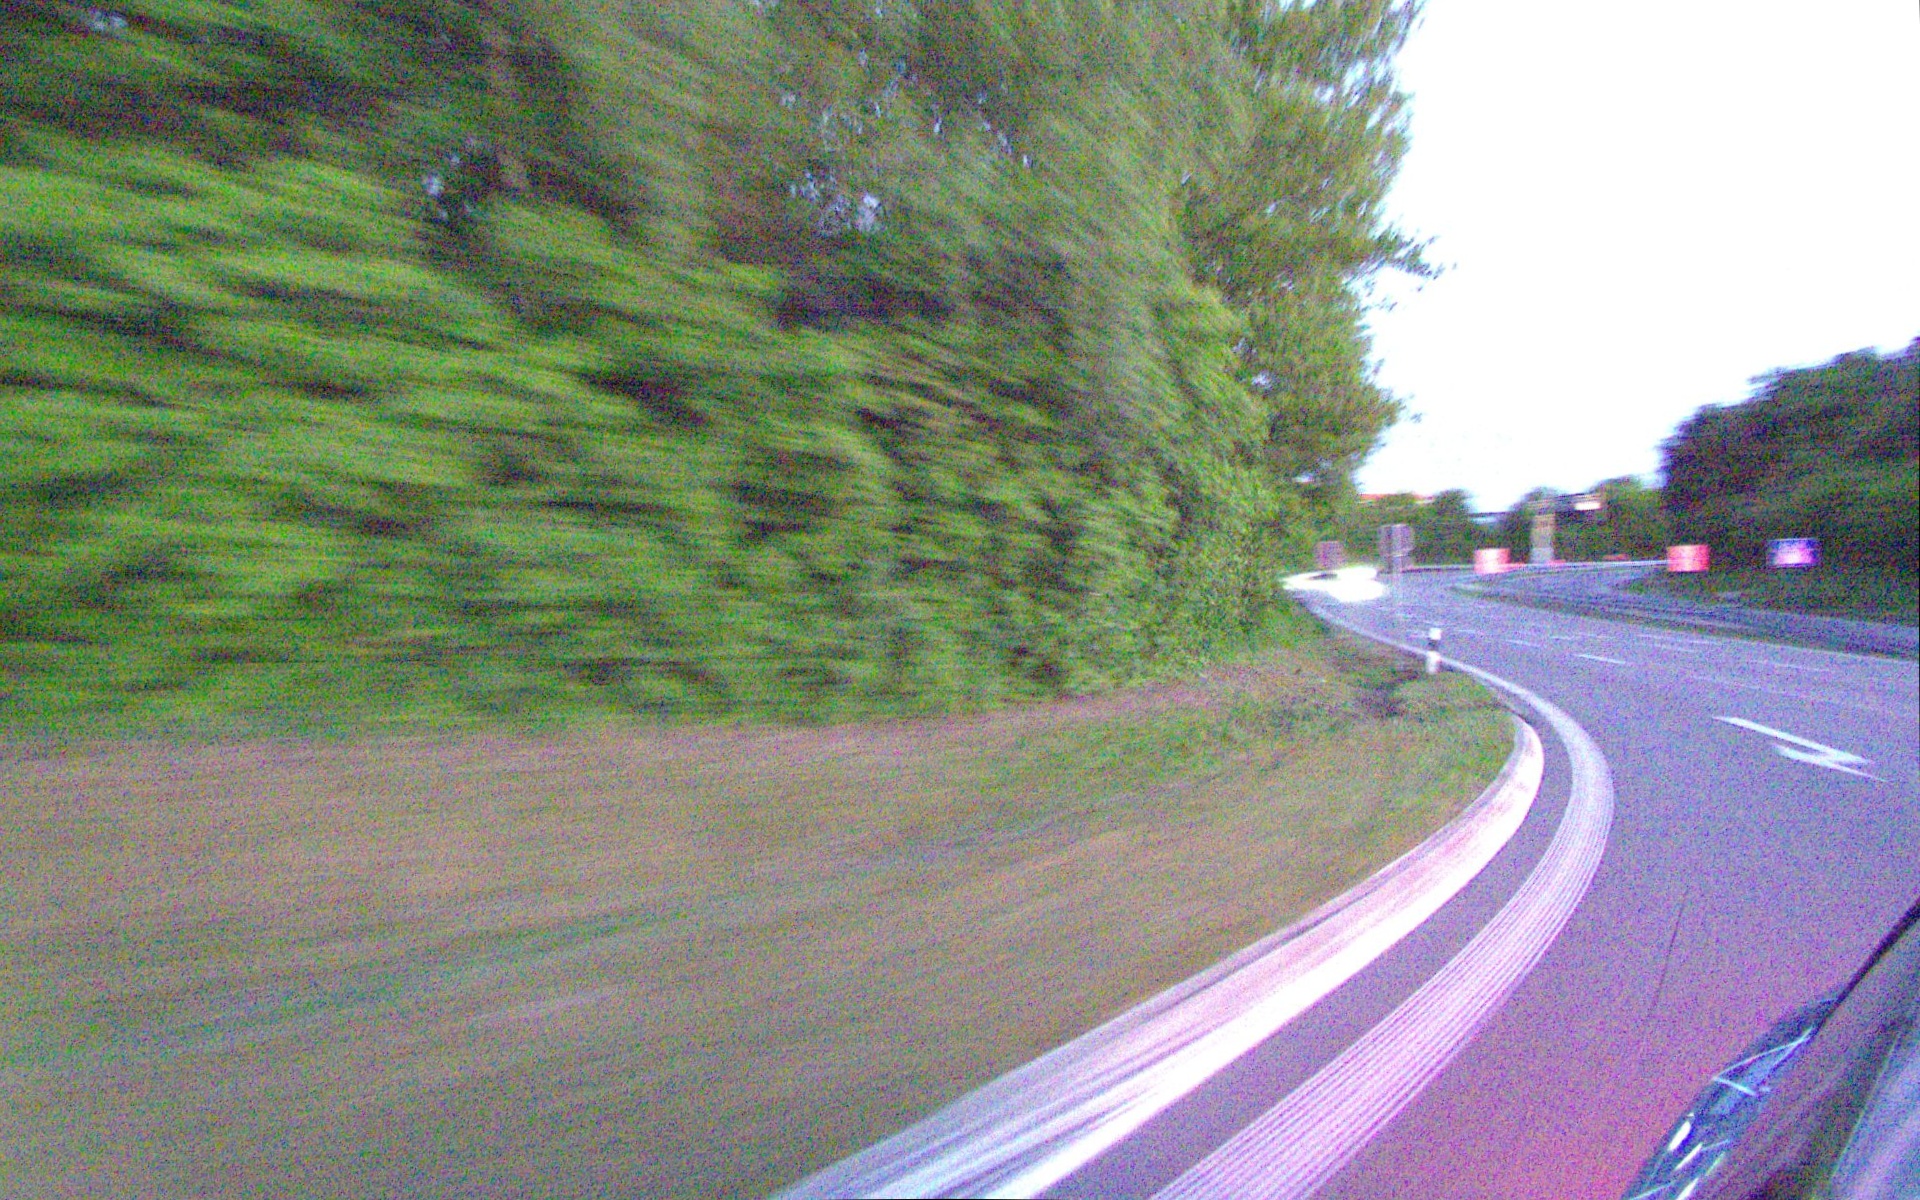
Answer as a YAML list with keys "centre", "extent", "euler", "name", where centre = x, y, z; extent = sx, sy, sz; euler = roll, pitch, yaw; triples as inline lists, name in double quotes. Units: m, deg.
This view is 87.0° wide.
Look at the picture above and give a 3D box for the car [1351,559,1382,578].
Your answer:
- centre: [38.043, -2.972, 94.686]
  extent: [1.777, 1.673, 3.947]
  euler: [2, 3, 37]
  name: "car"
